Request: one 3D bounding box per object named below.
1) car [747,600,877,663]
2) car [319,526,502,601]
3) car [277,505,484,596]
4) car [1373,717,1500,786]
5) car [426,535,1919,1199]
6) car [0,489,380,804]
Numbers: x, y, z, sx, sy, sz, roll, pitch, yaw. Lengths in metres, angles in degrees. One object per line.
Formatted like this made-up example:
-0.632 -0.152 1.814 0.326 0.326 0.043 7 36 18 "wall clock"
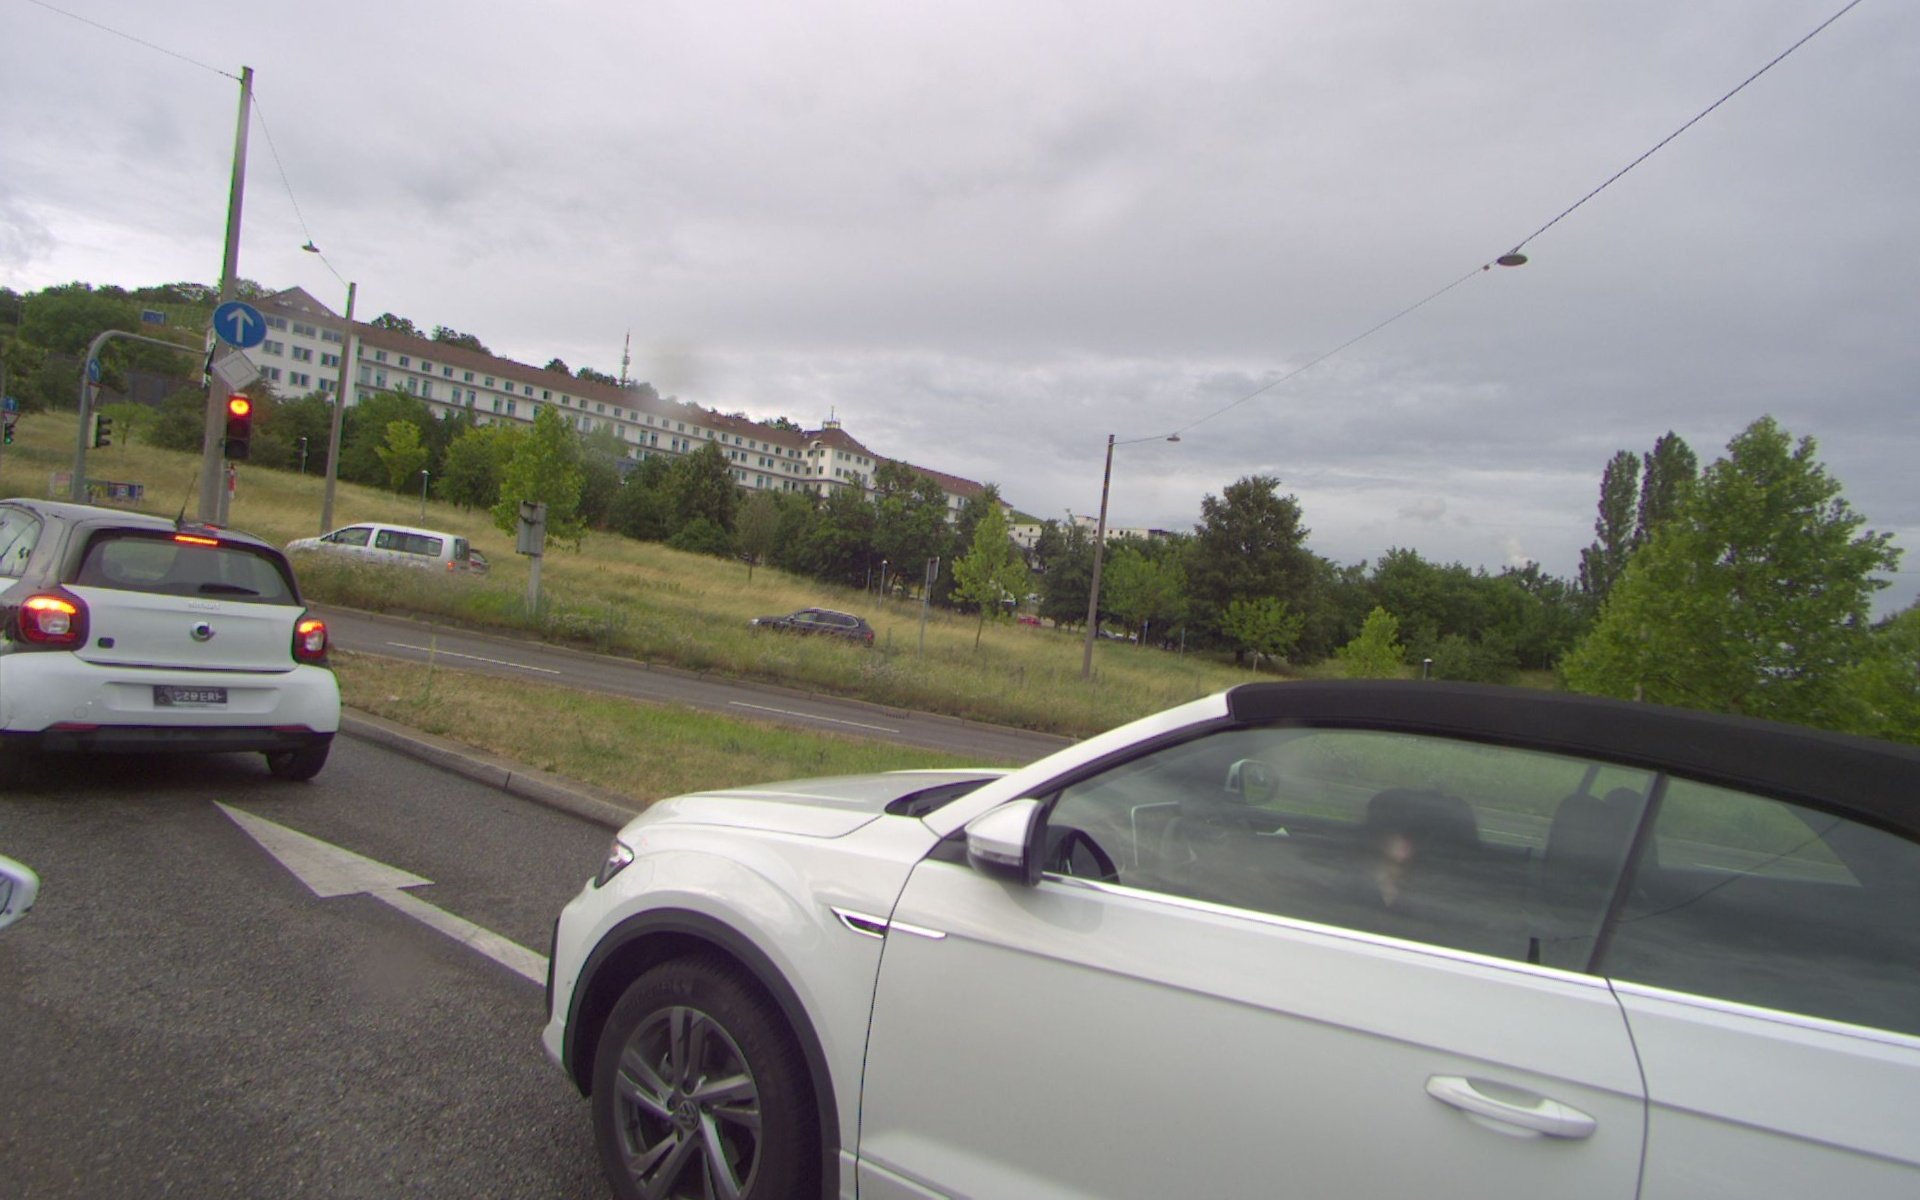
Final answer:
-5.258 1.149 36.189 4.342 1.655 2.000 7 -2 -5 "car"
-17.062 -1.100 31.465 4.449 1.639 1.998 8 -2 -9 "car"
-16.495 -1.366 28.857 4.619 1.871 1.820 8 -2 -9 "car"
18.755 5.965 39.666 3.932 2.037 1.998 7 -2 -8 "car"
0.970 0.889 2.281 4.156 1.571 1.718 6 -2 29 "car"
-5.489 0.178 6.509 3.398 1.520 1.659 6 -2 36 "car"
